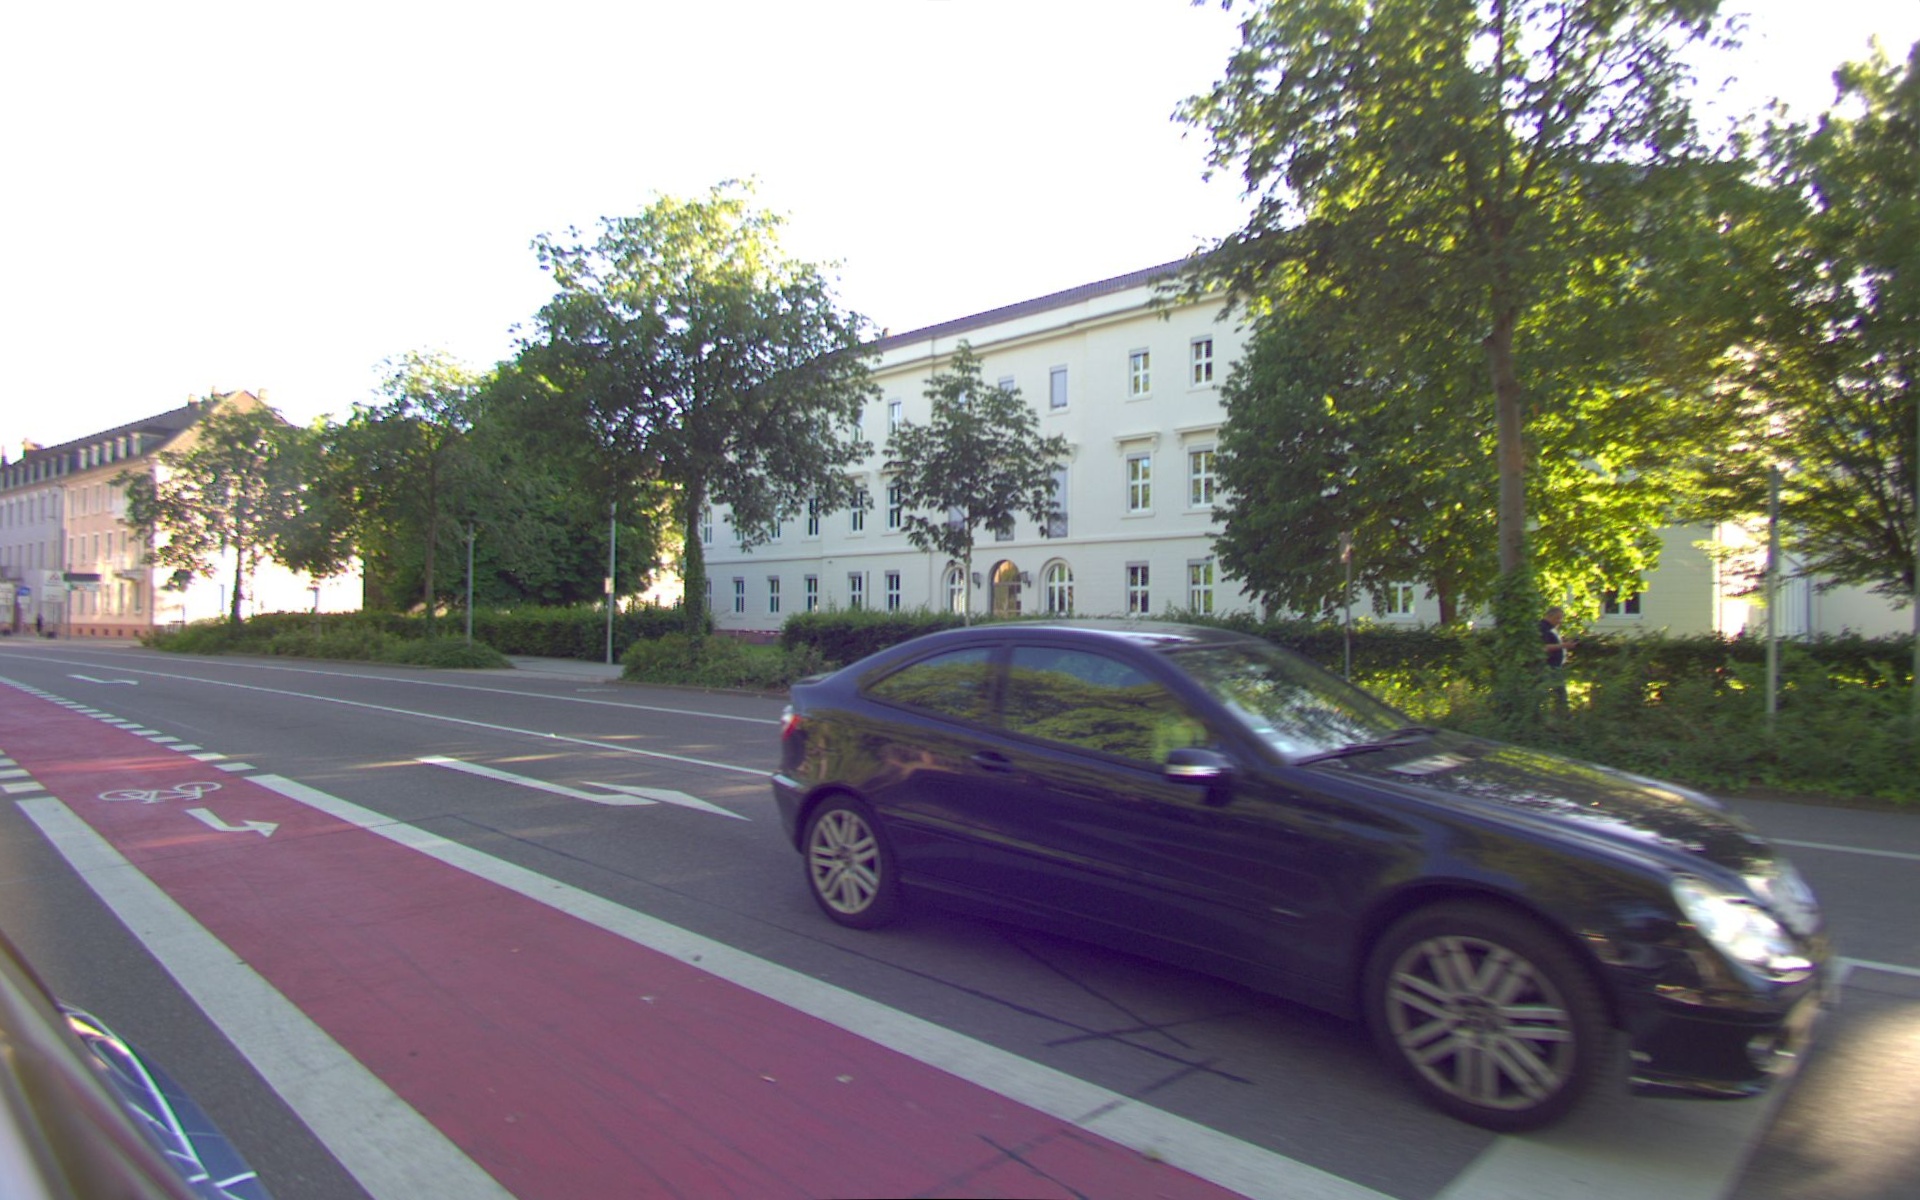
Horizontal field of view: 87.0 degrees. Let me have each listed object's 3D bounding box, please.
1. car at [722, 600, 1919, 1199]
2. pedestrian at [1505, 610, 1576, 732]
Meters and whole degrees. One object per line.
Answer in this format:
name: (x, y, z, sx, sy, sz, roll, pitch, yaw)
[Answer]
car: (1.043, 0.738, 4.224, 4.526, 1.428, 1.699, -1, 0, 42)
pedestrian: (8.369, 1.009, 14.589, 0.681, 1.694, 0.681, 2, -3, -39)
